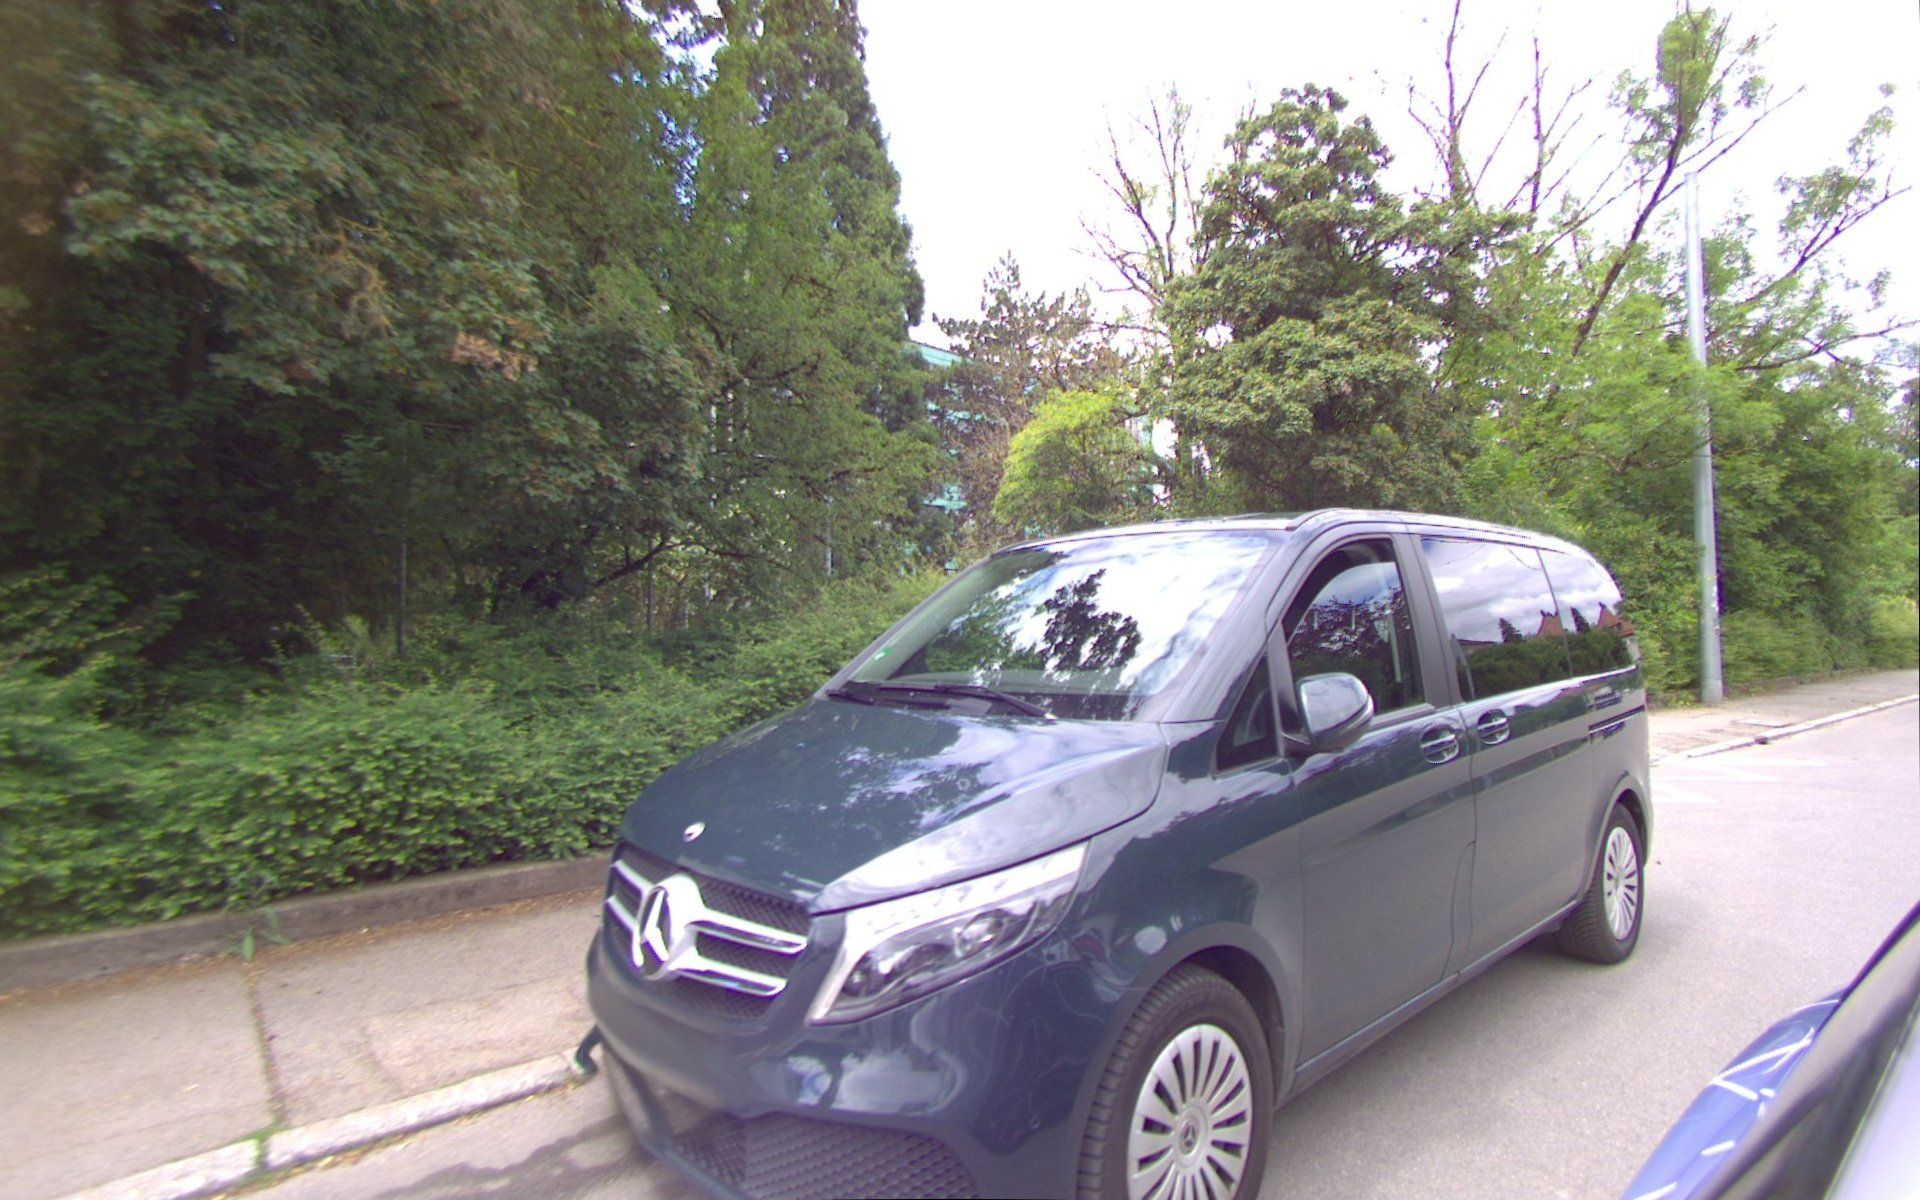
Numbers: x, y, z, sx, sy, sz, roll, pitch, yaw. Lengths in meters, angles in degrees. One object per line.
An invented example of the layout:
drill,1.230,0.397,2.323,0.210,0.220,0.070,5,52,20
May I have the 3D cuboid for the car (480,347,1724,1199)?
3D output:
car,1.112,0.574,3.918,5.068,1.872,1.912,0,-2,-41
